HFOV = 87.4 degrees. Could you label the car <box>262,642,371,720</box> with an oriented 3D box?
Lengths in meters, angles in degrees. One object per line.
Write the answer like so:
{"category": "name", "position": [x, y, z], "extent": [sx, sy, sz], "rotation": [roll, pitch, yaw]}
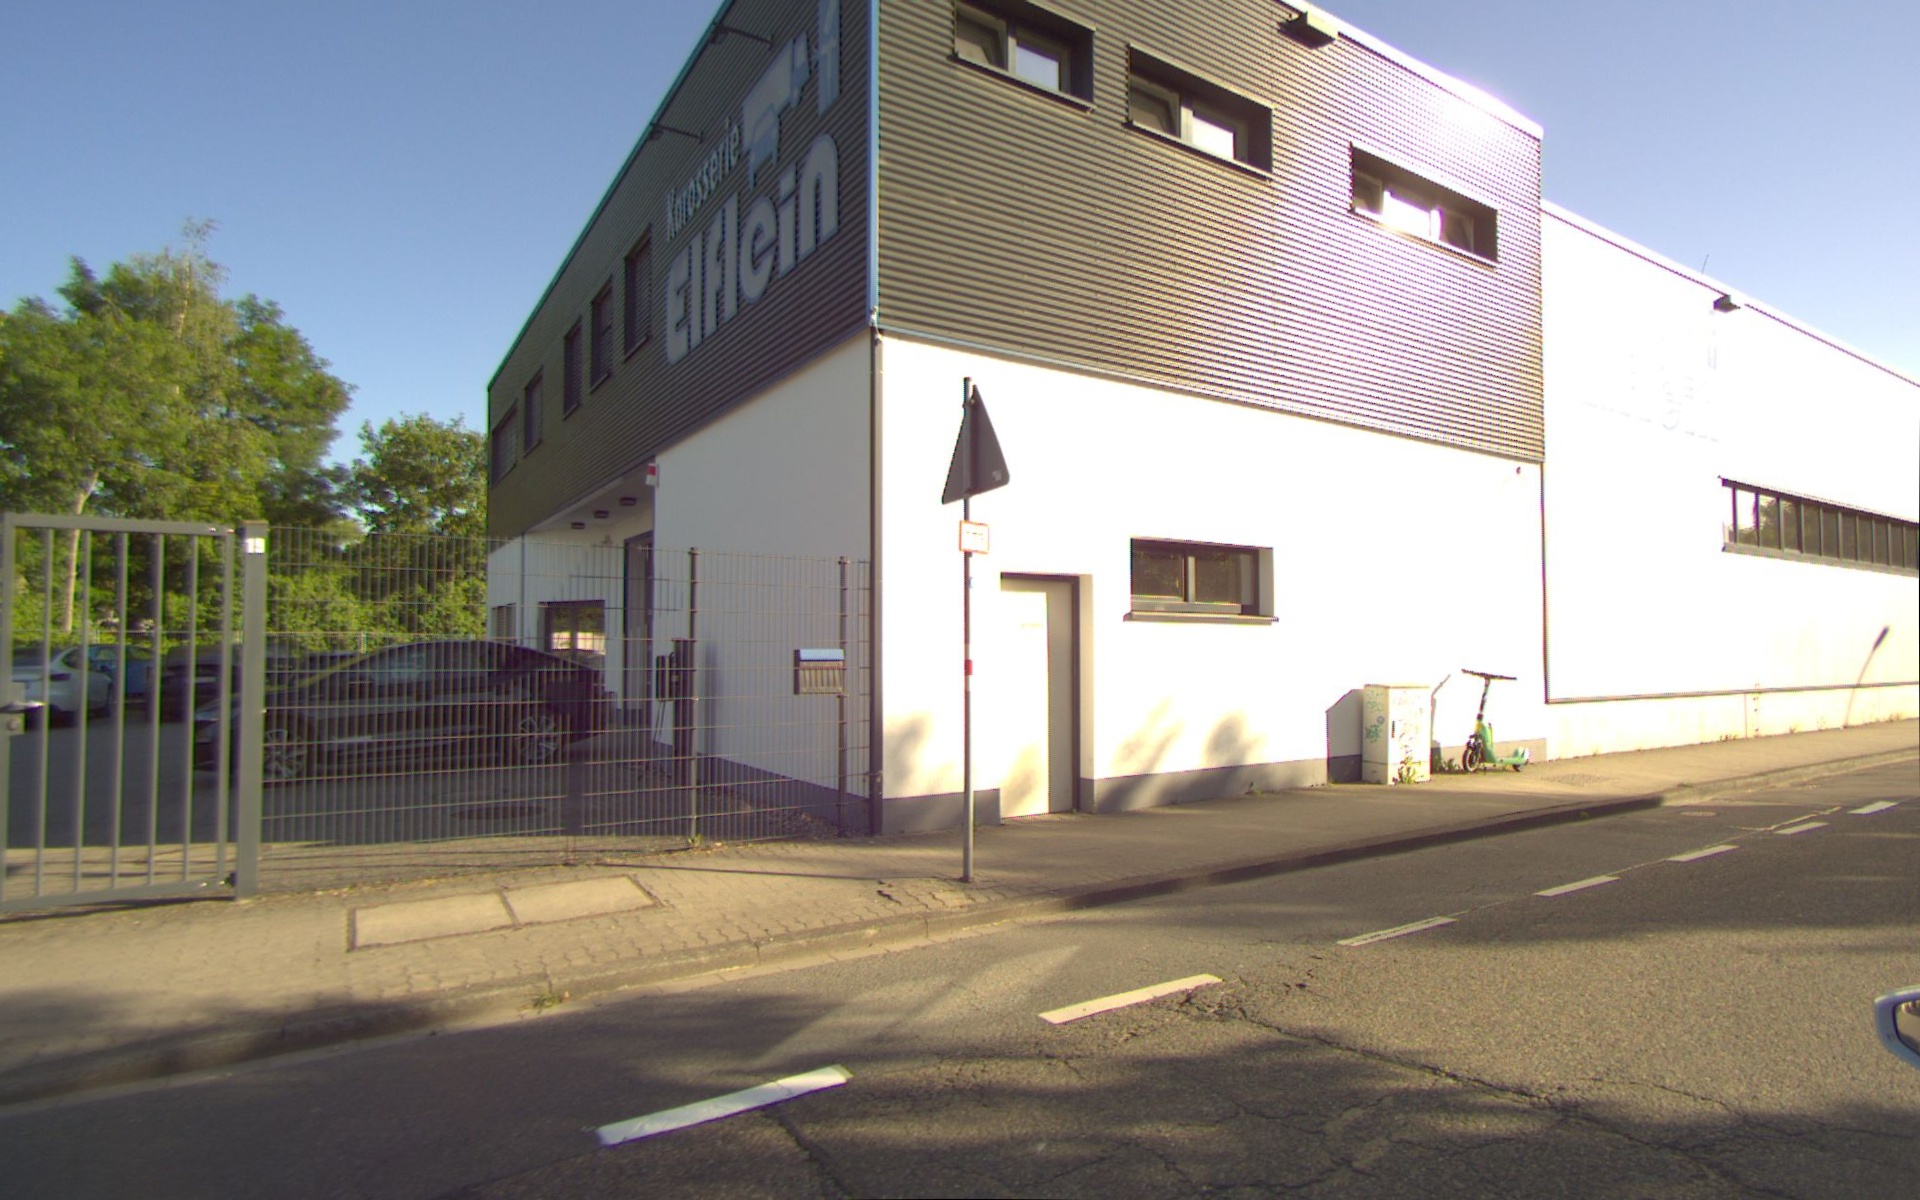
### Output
{"category": "car", "position": [-15.274, 1.903, 23.928], "extent": [1.988, 1.671, 4.238], "rotation": [2, -4, -32]}

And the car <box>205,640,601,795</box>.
{"category": "car", "position": [-6.927, 1.358, 12.730], "extent": [4.137, 1.560, 1.858], "rotation": [0, -3, -35]}

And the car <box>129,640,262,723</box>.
{"category": "car", "position": [-17.085, 1.799, 22.653], "extent": [1.988, 1.671, 4.238], "rotation": [2, -4, -32]}

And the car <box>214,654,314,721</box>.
{"category": "car", "position": [-18.929, 2.351, 27.499], "extent": [1.853, 1.671, 4.171], "rotation": [1, -4, -30]}

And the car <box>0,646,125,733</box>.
{"category": "car", "position": [-19.235, 1.846, 21.122], "extent": [1.988, 1.671, 4.238], "rotation": [2, -4, -32]}

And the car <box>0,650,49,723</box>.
{"category": "car", "position": [-23.739, 2.073, 24.101], "extent": [1.853, 1.671, 4.171], "rotation": [1, -4, -30]}

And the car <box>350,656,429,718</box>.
{"category": "car", "position": [-16.571, 2.490, 29.221], "extent": [1.853, 1.671, 4.171], "rotation": [1, -4, -30]}

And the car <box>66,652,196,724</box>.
{"category": "car", "position": [-21.180, 2.217, 25.850], "extent": [1.853, 1.671, 4.171], "rotation": [1, -4, -30]}

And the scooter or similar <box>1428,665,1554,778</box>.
{"category": "scooter or similar", "position": [6.299, 1.402, 11.882], "extent": [1.734, 1.219, 0.504], "rotation": [2, 0, -33]}

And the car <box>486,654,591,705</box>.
{"category": "car", "position": [-14.806, 2.798, 35.558], "extent": [1.838, 1.671, 4.205], "rotation": [-1, -4, 1]}
